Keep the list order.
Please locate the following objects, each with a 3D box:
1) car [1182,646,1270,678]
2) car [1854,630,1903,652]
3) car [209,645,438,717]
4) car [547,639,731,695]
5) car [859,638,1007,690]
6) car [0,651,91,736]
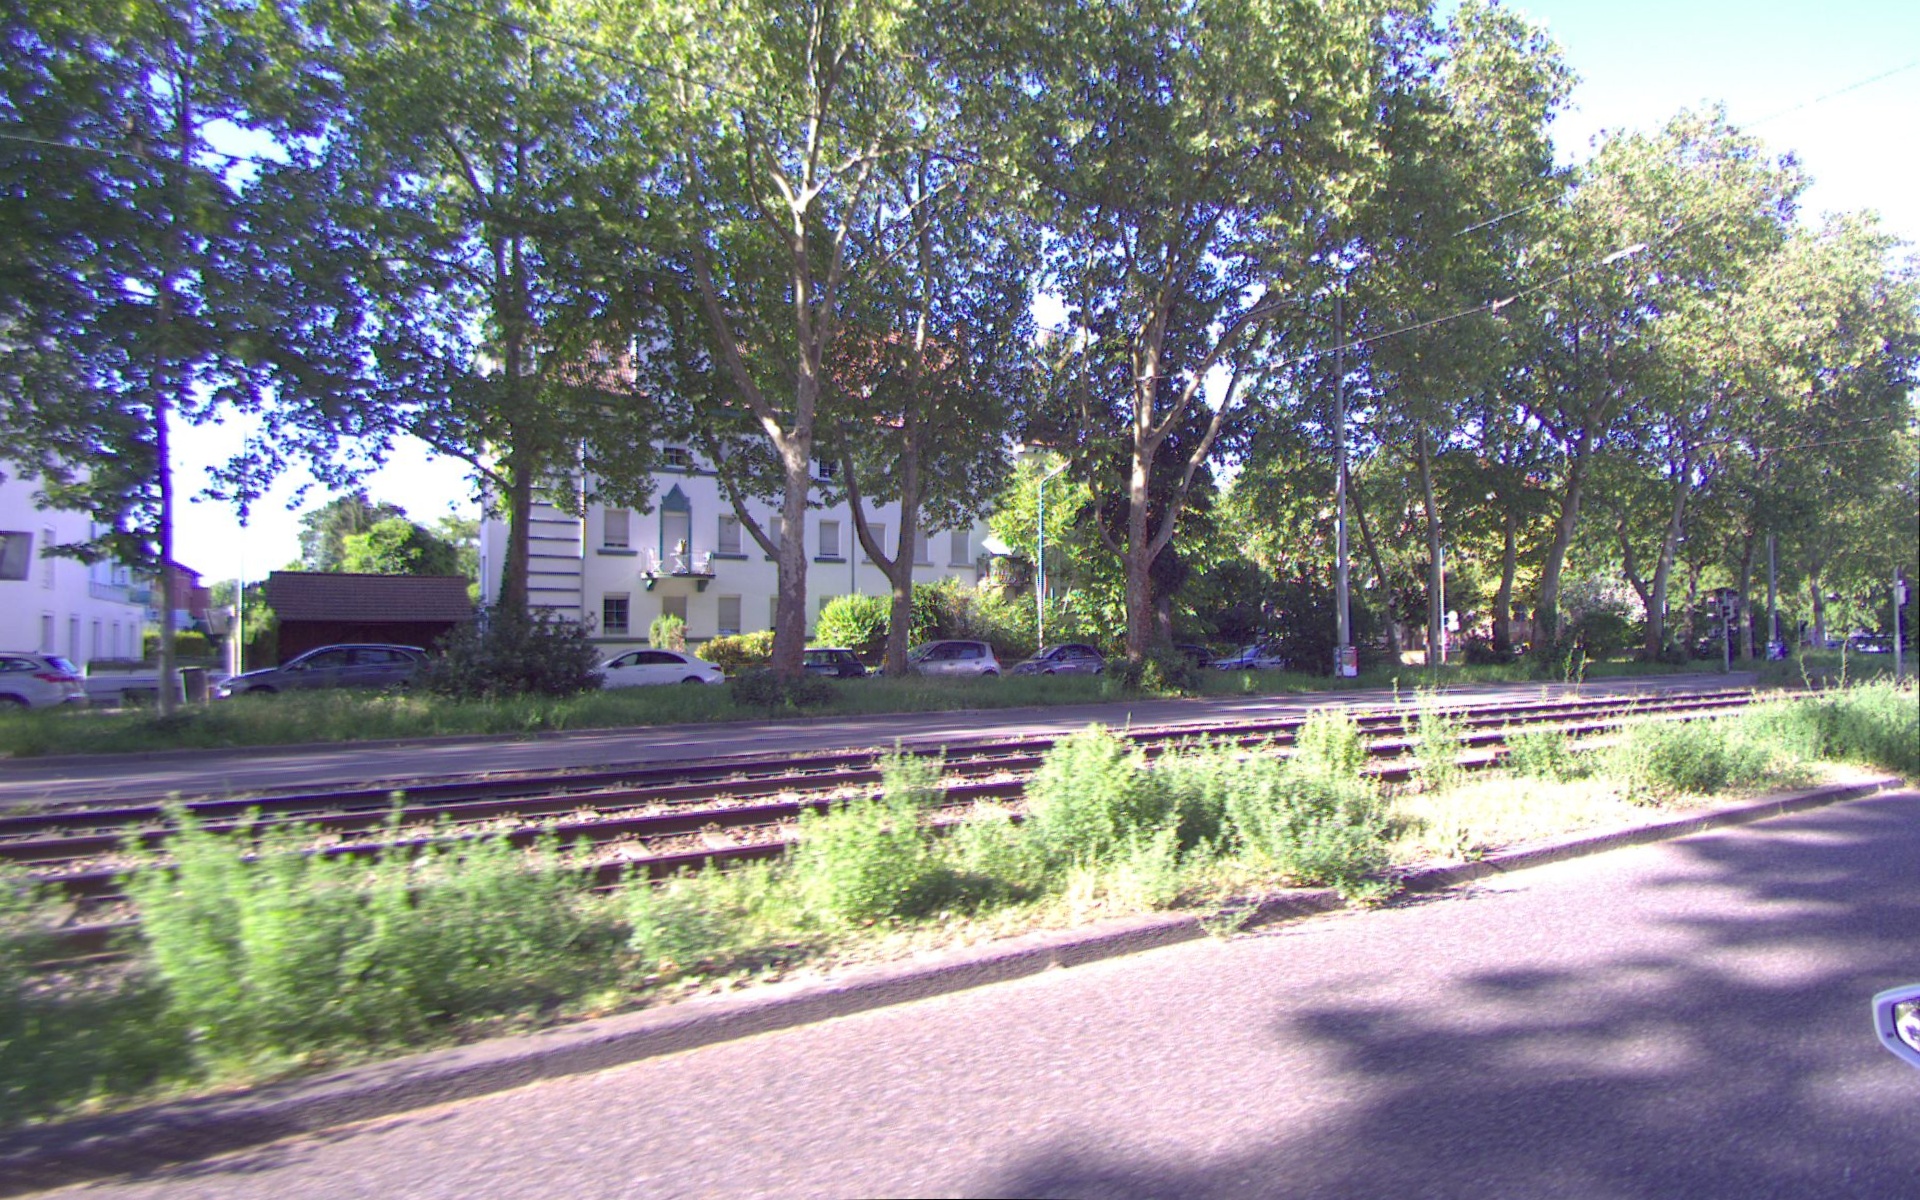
[{"bbox_3d":[10.034,2.302,37.802,3.184,1.131,1.463,1,-2,-34],"label":"car"},{"bbox_3d":[68.016,3.018,74.374,4.099,1.529,1.660,1,-2,-32],"label":"car"},{"bbox_3d":[-14.463,1.785,23.109,4.268,1.472,1.984,1,-3,-31],"label":"car"},{"bbox_3d":[-8.442,1.755,26.532,4.408,1.341,1.633,1,-4,-31],"label":"car"},{"bbox_3d":[-0.801,1.929,30.967,4.268,1.459,1.727,1,-3,-31],"label":"car"},{"bbox_3d":[-20.120,1.826,19.475,4.601,1.612,1.984,1,-3,-31],"label":"car"}]
